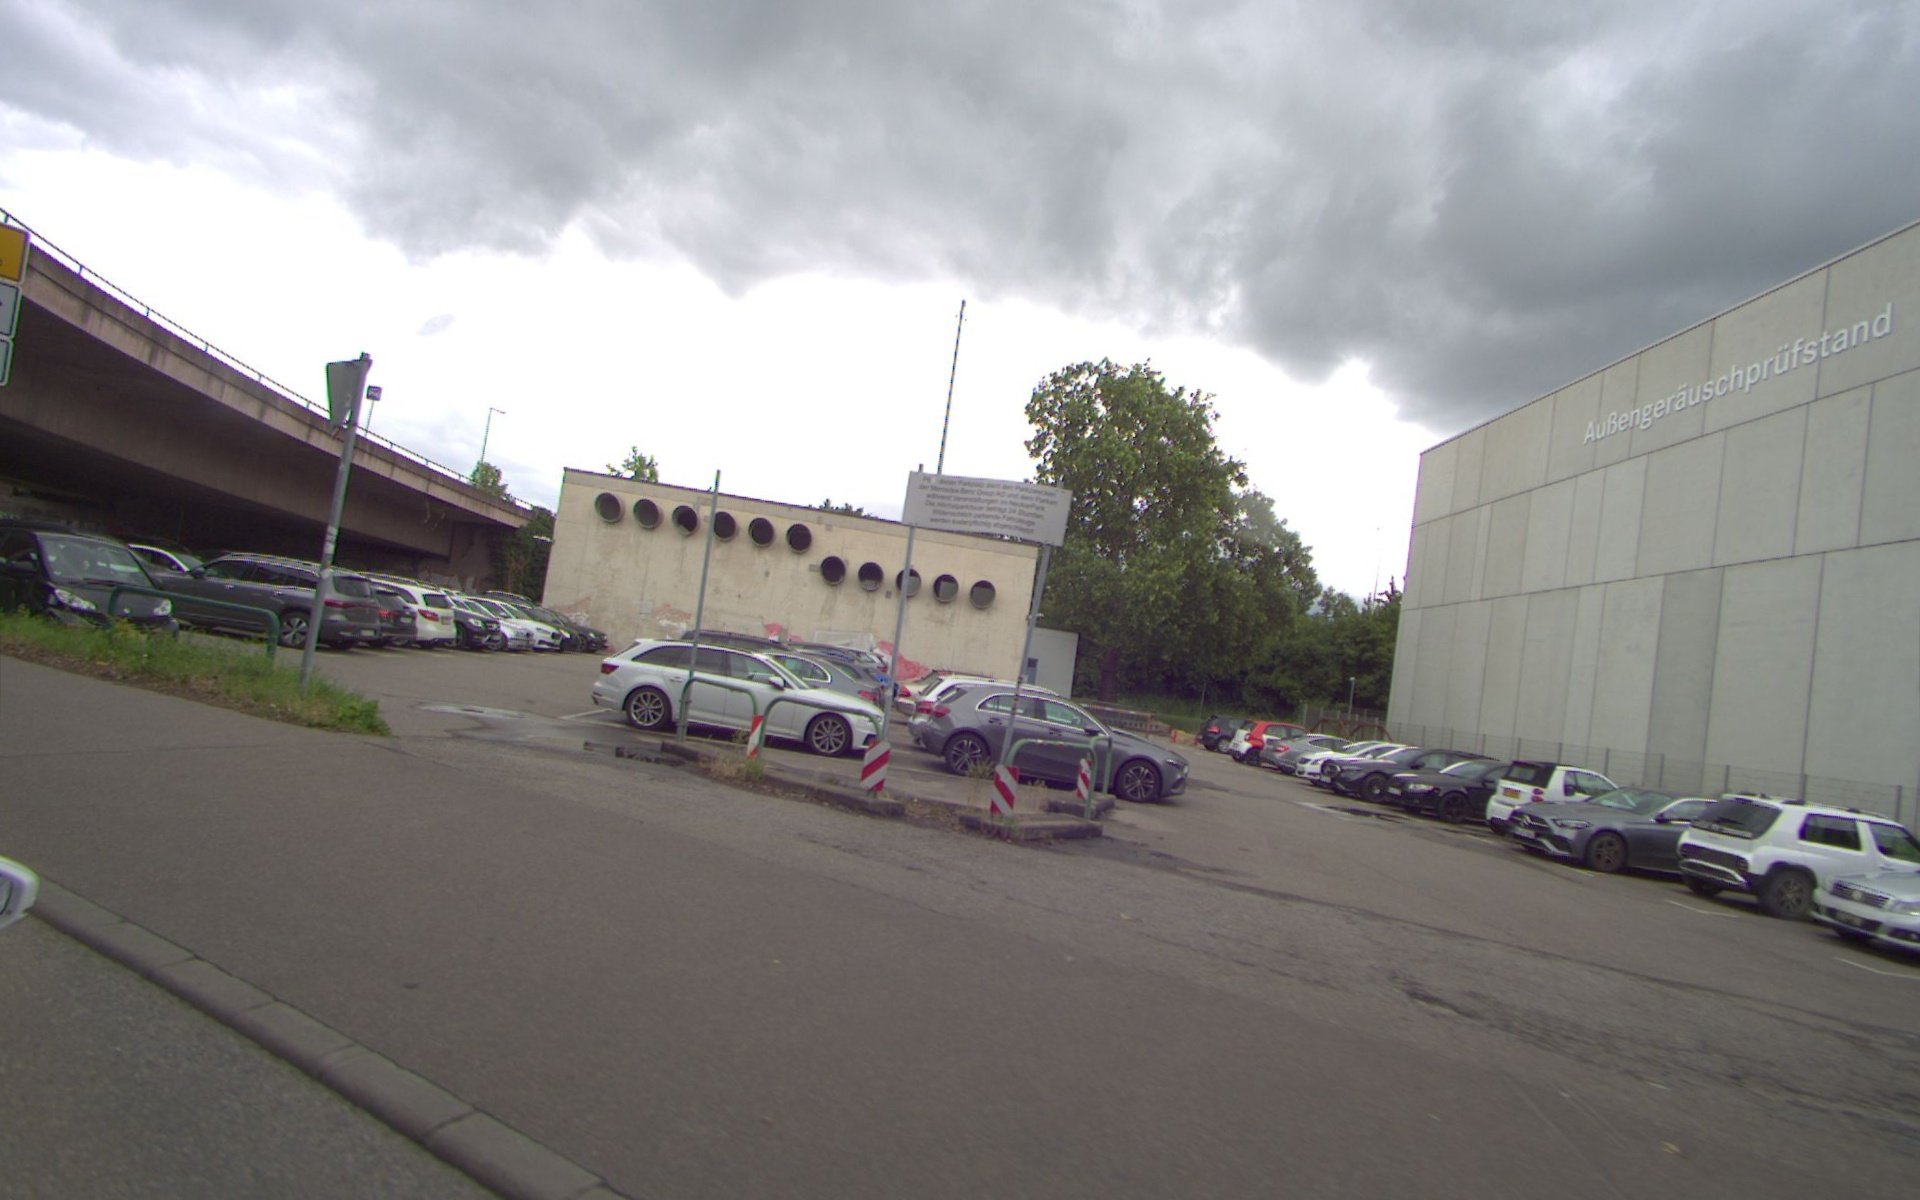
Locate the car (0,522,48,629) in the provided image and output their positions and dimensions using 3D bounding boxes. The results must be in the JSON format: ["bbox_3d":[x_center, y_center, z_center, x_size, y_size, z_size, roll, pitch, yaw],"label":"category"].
[{"bbox_3d":[-15.873,-0.654,14.828,4.171,1.495,1.738,7,-3,20],"label":"car"}]

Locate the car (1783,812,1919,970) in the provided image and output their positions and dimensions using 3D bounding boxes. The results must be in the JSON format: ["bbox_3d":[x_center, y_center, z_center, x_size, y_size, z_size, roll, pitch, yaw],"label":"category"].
[{"bbox_3d":[12.846,3.736,11.971,4.470,1.472,1.778,8,-3,2],"label":"car"}]

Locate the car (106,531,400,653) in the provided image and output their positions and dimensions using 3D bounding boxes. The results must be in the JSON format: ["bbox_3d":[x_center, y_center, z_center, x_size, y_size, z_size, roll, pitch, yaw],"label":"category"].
[{"bbox_3d":[-14.097,-0.108,20.267,4.391,1.693,1.747,9,-3,-4],"label":"car"}]

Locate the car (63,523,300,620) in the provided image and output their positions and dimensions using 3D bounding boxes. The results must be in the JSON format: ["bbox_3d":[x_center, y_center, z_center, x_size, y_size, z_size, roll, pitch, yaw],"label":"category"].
[{"bbox_3d":[-19.056,-0.647,24.779,4.118,1.609,1.840,9,-3,-4],"label":"car"}]

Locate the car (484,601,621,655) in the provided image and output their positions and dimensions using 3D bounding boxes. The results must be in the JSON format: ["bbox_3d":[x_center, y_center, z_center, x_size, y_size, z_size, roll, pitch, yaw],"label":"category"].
[{"bbox_3d":[-14.924,1.046,37.009,4.186,1.319,1.710,9,-3,-4],"label":"car"}]

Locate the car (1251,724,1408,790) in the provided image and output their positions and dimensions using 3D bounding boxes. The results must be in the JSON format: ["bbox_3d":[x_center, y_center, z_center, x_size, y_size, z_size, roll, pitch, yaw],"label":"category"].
[{"bbox_3d":[11.366,4.829,31.100,4.126,1.313,1.697,9,-3,-6],"label":"car"}]

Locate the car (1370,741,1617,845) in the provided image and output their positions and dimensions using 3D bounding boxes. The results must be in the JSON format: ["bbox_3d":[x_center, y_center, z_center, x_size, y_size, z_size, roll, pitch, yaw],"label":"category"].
[{"bbox_3d":[11.473,4.141,21.837,4.281,1.399,1.777,8,-3,0],"label":"car"}]

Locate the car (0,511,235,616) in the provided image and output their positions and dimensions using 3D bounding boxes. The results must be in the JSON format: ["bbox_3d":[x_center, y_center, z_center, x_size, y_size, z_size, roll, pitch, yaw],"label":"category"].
[{"bbox_3d":[-19.029,-0.791,22.441,4.118,1.609,1.840,9,-3,-4],"label":"car"}]

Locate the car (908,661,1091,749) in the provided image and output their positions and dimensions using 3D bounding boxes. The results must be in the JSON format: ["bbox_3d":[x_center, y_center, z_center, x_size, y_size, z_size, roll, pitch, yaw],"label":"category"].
[{"bbox_3d":[0.976,2.682,26.054,4.419,1.529,1.841,9,-3,-1],"label":"car"}]

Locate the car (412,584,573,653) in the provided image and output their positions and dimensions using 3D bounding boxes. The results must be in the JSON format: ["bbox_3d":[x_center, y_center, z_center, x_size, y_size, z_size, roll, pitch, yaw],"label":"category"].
[{"bbox_3d":[-14.953,0.635,32.324,4.186,1.525,1.710,9,-3,-4],"label":"car"}]

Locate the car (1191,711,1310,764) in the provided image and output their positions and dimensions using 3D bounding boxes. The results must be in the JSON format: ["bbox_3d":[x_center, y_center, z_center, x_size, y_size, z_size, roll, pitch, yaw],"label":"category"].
[{"bbox_3d":[11.117,5.254,38.604,3.977,1.352,1.497,9,-3,-6],"label":"car"}]

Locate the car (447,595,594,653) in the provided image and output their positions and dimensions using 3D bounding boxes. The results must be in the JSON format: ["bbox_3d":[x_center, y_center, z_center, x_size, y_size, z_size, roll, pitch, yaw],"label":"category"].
[{"bbox_3d":[-15.117,0.852,34.802,4.186,1.319,1.710,9,-3,-4],"label":"car"}]

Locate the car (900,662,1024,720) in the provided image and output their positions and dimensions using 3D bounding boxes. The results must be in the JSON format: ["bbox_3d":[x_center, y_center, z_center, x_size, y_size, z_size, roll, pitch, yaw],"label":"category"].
[{"bbox_3d":[0.065,3.356,37.384,4.361,1.440,1.841,9,-3,-1],"label":"car"}]

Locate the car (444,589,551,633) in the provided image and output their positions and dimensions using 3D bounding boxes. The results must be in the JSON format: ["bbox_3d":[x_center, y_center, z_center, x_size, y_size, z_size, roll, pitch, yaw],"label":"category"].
[{"bbox_3d":[-21.964,0.547,47.905,4.118,1.424,1.840,9,-3,-4],"label":"car"}]

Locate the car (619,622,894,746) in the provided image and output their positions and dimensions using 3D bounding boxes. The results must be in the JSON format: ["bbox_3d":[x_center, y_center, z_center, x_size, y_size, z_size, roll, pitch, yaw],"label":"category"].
[{"bbox_3d":[-3.619,1.538,18.633,4.604,1.491,1.860,9,-3,-3],"label":"car"}]

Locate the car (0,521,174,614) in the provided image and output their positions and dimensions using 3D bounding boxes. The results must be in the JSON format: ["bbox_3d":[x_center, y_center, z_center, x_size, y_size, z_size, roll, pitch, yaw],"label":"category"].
[{"bbox_3d":[-18.800,-0.787,20.333,4.118,1.436,1.840,9,-3,-4],"label":"car"}]

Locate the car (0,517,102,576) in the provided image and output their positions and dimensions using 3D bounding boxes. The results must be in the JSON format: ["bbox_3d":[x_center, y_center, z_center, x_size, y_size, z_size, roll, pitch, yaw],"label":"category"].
[{"bbox_3d":[-30.929,-1.895,32.735,4.118,1.481,1.840,9,-3,-4],"label":"car"}]

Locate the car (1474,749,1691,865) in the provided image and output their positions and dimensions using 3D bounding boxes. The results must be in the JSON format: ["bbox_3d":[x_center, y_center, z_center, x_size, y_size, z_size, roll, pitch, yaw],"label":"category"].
[{"bbox_3d":[11.931,3.951,19.421,3.041,1.561,1.625,8,-3,0],"label":"car"}]

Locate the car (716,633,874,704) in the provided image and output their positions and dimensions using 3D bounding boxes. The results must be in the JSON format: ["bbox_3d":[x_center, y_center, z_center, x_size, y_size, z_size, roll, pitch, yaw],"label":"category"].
[{"bbox_3d":[-4.876,2.058,30.232,4.357,1.407,1.786,9,-3,-3],"label":"car"}]

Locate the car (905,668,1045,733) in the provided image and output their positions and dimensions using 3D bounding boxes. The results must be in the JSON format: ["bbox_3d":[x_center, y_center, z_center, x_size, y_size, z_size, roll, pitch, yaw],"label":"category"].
[{"bbox_3d":[0.471,3.292,33.387,4.361,1.440,1.841,9,-3,-1],"label":"car"}]

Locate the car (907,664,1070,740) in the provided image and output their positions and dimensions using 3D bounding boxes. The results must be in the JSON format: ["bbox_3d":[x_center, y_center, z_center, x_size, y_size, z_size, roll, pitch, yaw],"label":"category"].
[{"bbox_3d":[0.775,2.872,28.663,4.361,1.440,1.841,9,-3,-1],"label":"car"}]

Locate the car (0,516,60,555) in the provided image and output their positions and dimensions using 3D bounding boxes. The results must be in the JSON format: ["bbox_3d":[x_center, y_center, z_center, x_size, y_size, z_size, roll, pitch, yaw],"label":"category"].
[{"bbox_3d":[-47.681,-3.388,50.055,3.799,1.494,1.757,9,-3,-10],"label":"car"}]

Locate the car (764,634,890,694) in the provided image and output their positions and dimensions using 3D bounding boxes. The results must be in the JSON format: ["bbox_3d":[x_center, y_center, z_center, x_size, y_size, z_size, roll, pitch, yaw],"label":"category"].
[{"bbox_3d":[-4.944,2.392,37.885,4.409,1.549,1.771,9,-3,-3],"label":"car"}]

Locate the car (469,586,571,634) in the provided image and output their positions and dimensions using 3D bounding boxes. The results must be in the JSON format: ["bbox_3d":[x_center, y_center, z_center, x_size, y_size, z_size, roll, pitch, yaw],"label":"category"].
[{"bbox_3d":[-21.922,0.527,50.245,4.118,1.706,1.840,9,-3,-4],"label":"car"}]

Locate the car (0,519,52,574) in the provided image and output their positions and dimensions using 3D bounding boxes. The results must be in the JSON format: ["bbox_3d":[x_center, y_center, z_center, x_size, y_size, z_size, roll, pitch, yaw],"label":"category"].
[{"bbox_3d":[-30.485,-1.921,30.405,4.118,1.481,1.840,9,-3,-4],"label":"car"}]

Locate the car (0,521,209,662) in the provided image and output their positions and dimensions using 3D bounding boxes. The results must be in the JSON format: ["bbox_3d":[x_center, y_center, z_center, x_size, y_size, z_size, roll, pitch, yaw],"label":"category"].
[{"bbox_3d":[-11.790,-0.147,13.340,2.709,1.495,1.547,7,-3,20],"label":"car"}]

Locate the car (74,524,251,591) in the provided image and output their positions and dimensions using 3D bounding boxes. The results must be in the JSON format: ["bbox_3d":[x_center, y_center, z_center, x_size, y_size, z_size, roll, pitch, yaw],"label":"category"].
[{"bbox_3d":[-31.550,-1.636,39.921,5.016,1.695,2.092,9,-3,-4],"label":"car"}]

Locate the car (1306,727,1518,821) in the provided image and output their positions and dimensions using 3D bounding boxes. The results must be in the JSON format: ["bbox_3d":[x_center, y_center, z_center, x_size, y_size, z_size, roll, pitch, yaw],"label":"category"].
[{"bbox_3d":[10.916,4.197,24.434,4.286,1.472,1.776,9,-3,-6],"label":"car"}]

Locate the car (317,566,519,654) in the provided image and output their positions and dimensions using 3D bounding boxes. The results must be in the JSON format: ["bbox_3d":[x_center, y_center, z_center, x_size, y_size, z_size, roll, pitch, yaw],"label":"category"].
[{"bbox_3d":[-14.822,0.324,27.708,4.354,1.709,1.758,9,-3,-4],"label":"car"}]

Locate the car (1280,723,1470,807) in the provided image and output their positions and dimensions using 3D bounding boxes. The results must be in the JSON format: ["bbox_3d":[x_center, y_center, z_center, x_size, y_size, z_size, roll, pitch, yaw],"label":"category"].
[{"bbox_3d":[11.128,4.419,27.097,4.286,1.472,1.776,9,-3,-6],"label":"car"}]

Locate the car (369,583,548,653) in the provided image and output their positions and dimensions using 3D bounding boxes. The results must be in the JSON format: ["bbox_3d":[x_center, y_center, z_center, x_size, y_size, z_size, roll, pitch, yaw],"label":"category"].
[{"bbox_3d":[-14.841,0.581,29.948,4.328,1.378,1.633,9,-3,-4],"label":"car"}]

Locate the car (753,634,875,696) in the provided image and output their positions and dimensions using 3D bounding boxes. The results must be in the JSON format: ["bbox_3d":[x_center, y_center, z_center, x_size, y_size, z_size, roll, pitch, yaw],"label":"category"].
[{"bbox_3d":[-5.063,2.265,35.262,3.905,1.549,1.771,9,-3,-3],"label":"car"}]

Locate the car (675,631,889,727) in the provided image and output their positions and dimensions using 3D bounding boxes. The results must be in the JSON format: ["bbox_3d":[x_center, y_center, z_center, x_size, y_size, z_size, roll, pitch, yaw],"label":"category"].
[{"bbox_3d":[-4.018,1.816,23.357,4.538,1.459,1.860,9,-3,-3],"label":"car"}]

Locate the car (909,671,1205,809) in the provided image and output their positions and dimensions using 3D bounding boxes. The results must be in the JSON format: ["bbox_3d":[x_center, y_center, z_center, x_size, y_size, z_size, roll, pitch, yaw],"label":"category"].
[{"bbox_3d":[1.469,2.197,16.242,4.361,1.440,1.841,9,-3,-1],"label":"car"}]

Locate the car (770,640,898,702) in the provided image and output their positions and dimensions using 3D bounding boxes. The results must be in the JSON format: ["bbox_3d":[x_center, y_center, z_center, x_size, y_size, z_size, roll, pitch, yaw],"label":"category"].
[{"bbox_3d":[-4.055,2.305,32.890,3.905,1.407,1.771,9,-3,-3],"label":"car"}]

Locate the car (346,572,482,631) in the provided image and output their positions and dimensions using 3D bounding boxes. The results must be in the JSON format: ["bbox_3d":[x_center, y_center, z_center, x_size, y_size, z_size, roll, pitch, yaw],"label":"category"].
[{"bbox_3d":[-21.419,0.091,39.574,4.118,1.609,1.840,9,-3,-4],"label":"car"}]

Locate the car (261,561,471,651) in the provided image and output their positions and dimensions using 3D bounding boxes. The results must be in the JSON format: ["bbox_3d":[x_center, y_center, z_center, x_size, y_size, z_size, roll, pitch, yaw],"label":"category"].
[{"bbox_3d":[-14.817,0.197,25.288,4.015,1.573,1.758,9,-3,-4],"label":"car"}]

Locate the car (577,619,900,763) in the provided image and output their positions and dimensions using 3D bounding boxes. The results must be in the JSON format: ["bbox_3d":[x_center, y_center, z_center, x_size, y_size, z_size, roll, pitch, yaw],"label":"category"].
[{"bbox_3d":[-3.390,1.433,16.108,4.602,1.491,1.860,9,-3,-1],"label":"car"}]

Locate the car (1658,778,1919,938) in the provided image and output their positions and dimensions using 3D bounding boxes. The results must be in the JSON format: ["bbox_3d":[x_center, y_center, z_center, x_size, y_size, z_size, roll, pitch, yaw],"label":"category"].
[{"bbox_3d":[12.766,3.753,14.350,4.282,1.605,1.777,9,-3,-1],"label":"car"}]

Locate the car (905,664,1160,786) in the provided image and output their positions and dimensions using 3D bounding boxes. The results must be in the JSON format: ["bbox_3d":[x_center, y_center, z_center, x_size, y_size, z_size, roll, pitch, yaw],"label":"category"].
[{"bbox_3d":[1.295,2.299,18.933,4.419,1.529,1.841,9,-3,-1],"label":"car"}]

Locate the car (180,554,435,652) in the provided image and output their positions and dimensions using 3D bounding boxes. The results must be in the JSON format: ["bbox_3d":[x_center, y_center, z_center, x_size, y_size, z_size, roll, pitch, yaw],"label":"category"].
[{"bbox_3d":[-14.598,0.108,22.721,4.380,1.464,1.758,9,-3,-4],"label":"car"}]

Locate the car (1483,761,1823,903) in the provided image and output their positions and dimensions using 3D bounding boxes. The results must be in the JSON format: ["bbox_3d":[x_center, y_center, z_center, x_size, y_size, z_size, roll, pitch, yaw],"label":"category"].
[{"bbox_3d":[11.317,3.772,16.629,4.281,1.399,1.777,8,-3,0],"label":"car"}]

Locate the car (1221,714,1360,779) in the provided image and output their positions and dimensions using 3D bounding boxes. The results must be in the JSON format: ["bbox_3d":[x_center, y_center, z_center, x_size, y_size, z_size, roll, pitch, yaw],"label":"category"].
[{"bbox_3d":[10.981,4.864,33.537,3.995,1.475,1.497,9,-3,-6],"label":"car"}]

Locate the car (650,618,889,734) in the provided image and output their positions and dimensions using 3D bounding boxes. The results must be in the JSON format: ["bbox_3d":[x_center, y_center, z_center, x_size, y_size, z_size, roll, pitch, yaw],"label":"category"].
[{"bbox_3d":[-3.862,1.583,21.065,4.538,1.645,1.860,9,-3,-3],"label":"car"}]
